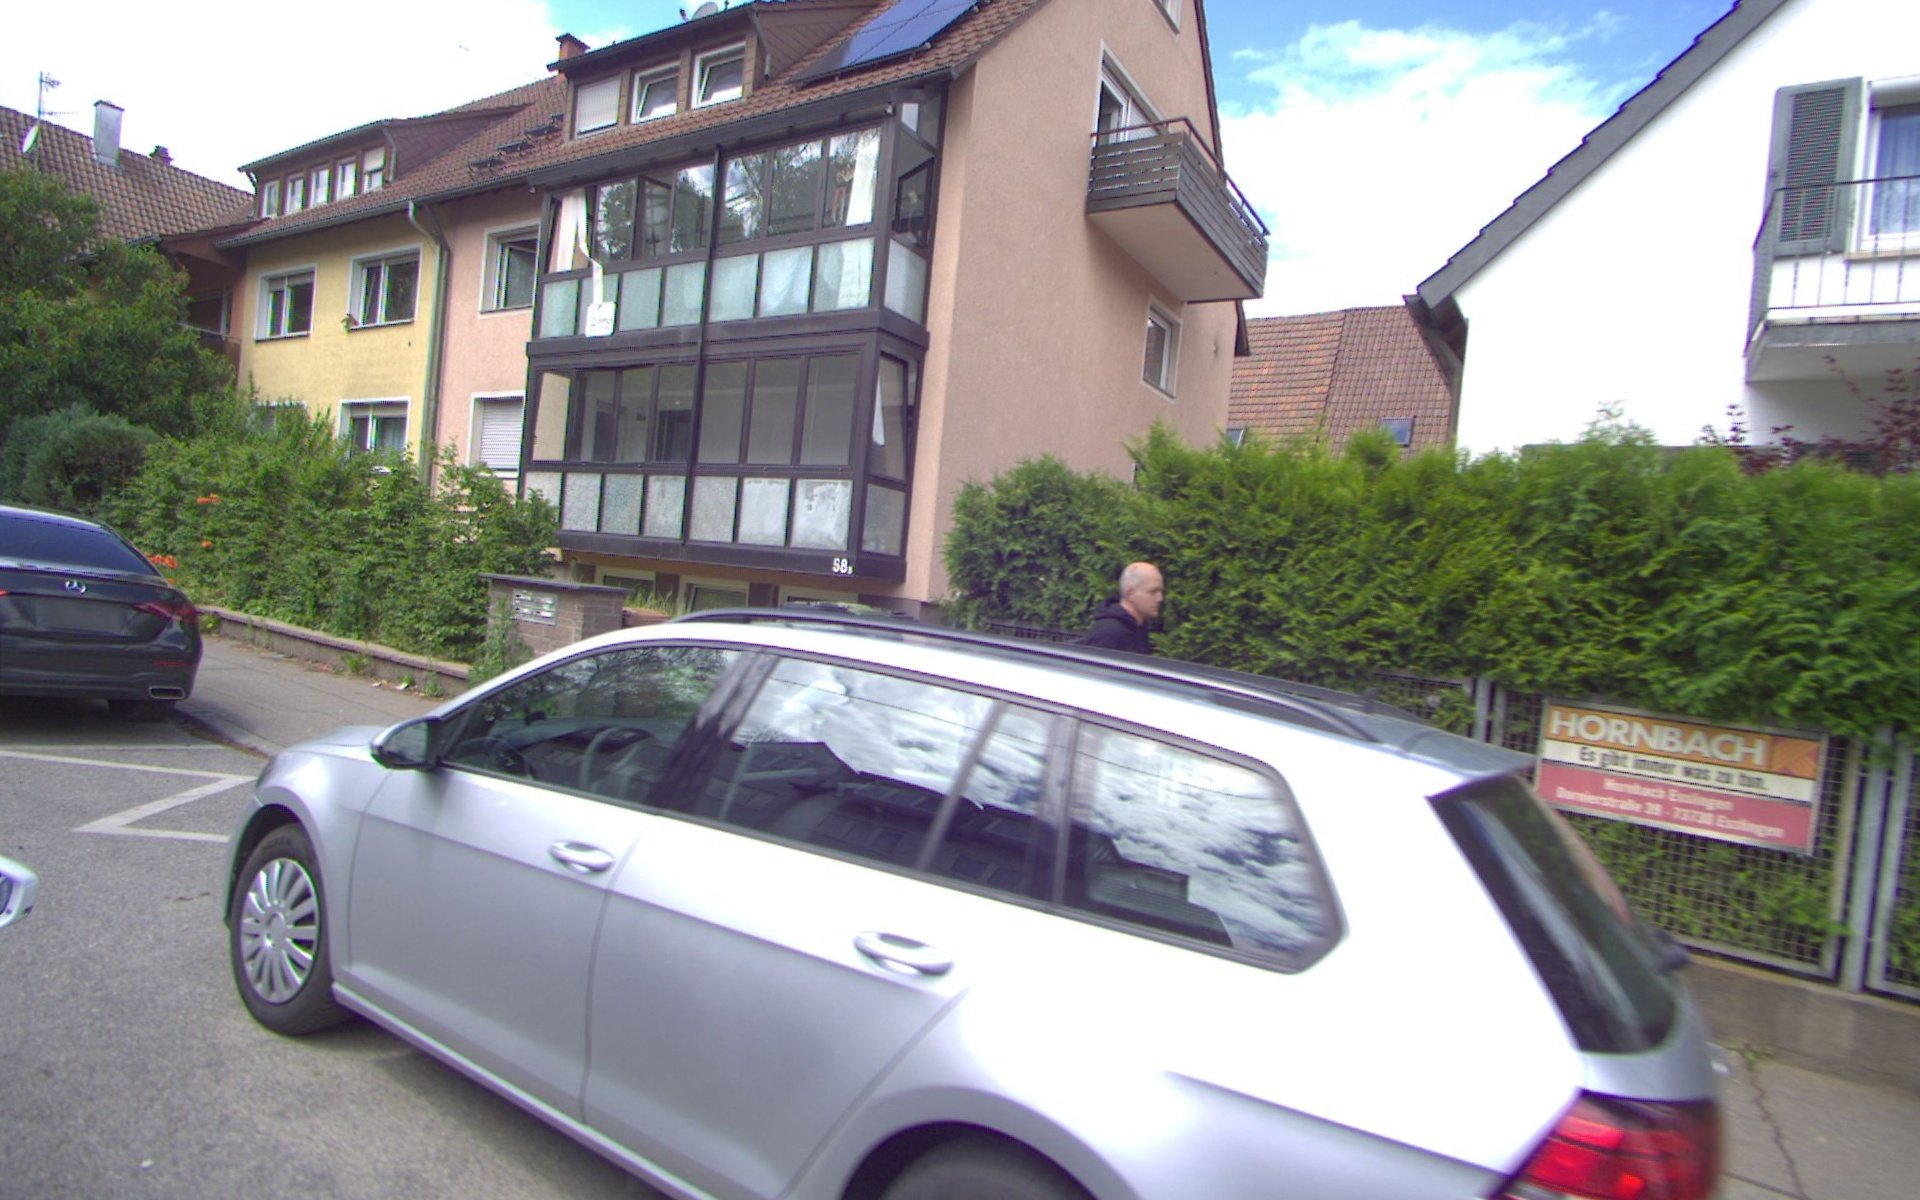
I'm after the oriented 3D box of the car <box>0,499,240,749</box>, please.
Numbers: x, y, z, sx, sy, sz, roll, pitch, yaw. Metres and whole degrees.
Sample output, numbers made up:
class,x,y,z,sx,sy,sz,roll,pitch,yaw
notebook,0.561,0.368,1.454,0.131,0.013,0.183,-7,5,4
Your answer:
class,x,y,z,sx,sy,sz,roll,pitch,yaw
car,-7.440,-0.065,7.387,4.802,1.445,1.737,7,-2,33

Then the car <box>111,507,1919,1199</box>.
class,x,y,z,sx,sy,sz,roll,pitch,yaw
car,-0.457,0.731,2.962,4.792,1.498,1.703,7,-1,33

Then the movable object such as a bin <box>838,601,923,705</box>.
class,x,y,z,sx,sy,sz,roll,pitch,yaw
movable object such as a bin,-0.944,0.626,11.871,0.716,1.133,0.548,6,1,37

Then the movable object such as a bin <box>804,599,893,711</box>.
class,x,y,z,sx,sy,sz,roll,pitch,yaw
movable object such as a bin,-1.265,0.615,11.391,0.716,1.173,0.548,6,1,37

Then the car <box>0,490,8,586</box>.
class,x,y,z,sx,sy,sz,roll,pitch,yaw
car,-12.179,-0.683,10.702,4.514,1.441,1.994,7,1,34

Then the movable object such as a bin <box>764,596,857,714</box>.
class,x,y,z,sx,sy,sz,roll,pitch,yaw
movable object such as a bin,-1.615,0.589,10.890,0.716,1.173,0.548,6,1,37

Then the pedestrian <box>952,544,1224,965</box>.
class,x,y,z,sx,sy,sz,roll,pitch,yaw
pedestrian,0.629,0.666,4.813,0.829,1.734,0.881,6,1,34

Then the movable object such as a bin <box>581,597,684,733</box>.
class,x,y,z,sx,sy,sz,roll,pitch,yaw
movable object such as a bin,-2.863,0.563,8.798,0.595,1.094,0.523,6,1,38
